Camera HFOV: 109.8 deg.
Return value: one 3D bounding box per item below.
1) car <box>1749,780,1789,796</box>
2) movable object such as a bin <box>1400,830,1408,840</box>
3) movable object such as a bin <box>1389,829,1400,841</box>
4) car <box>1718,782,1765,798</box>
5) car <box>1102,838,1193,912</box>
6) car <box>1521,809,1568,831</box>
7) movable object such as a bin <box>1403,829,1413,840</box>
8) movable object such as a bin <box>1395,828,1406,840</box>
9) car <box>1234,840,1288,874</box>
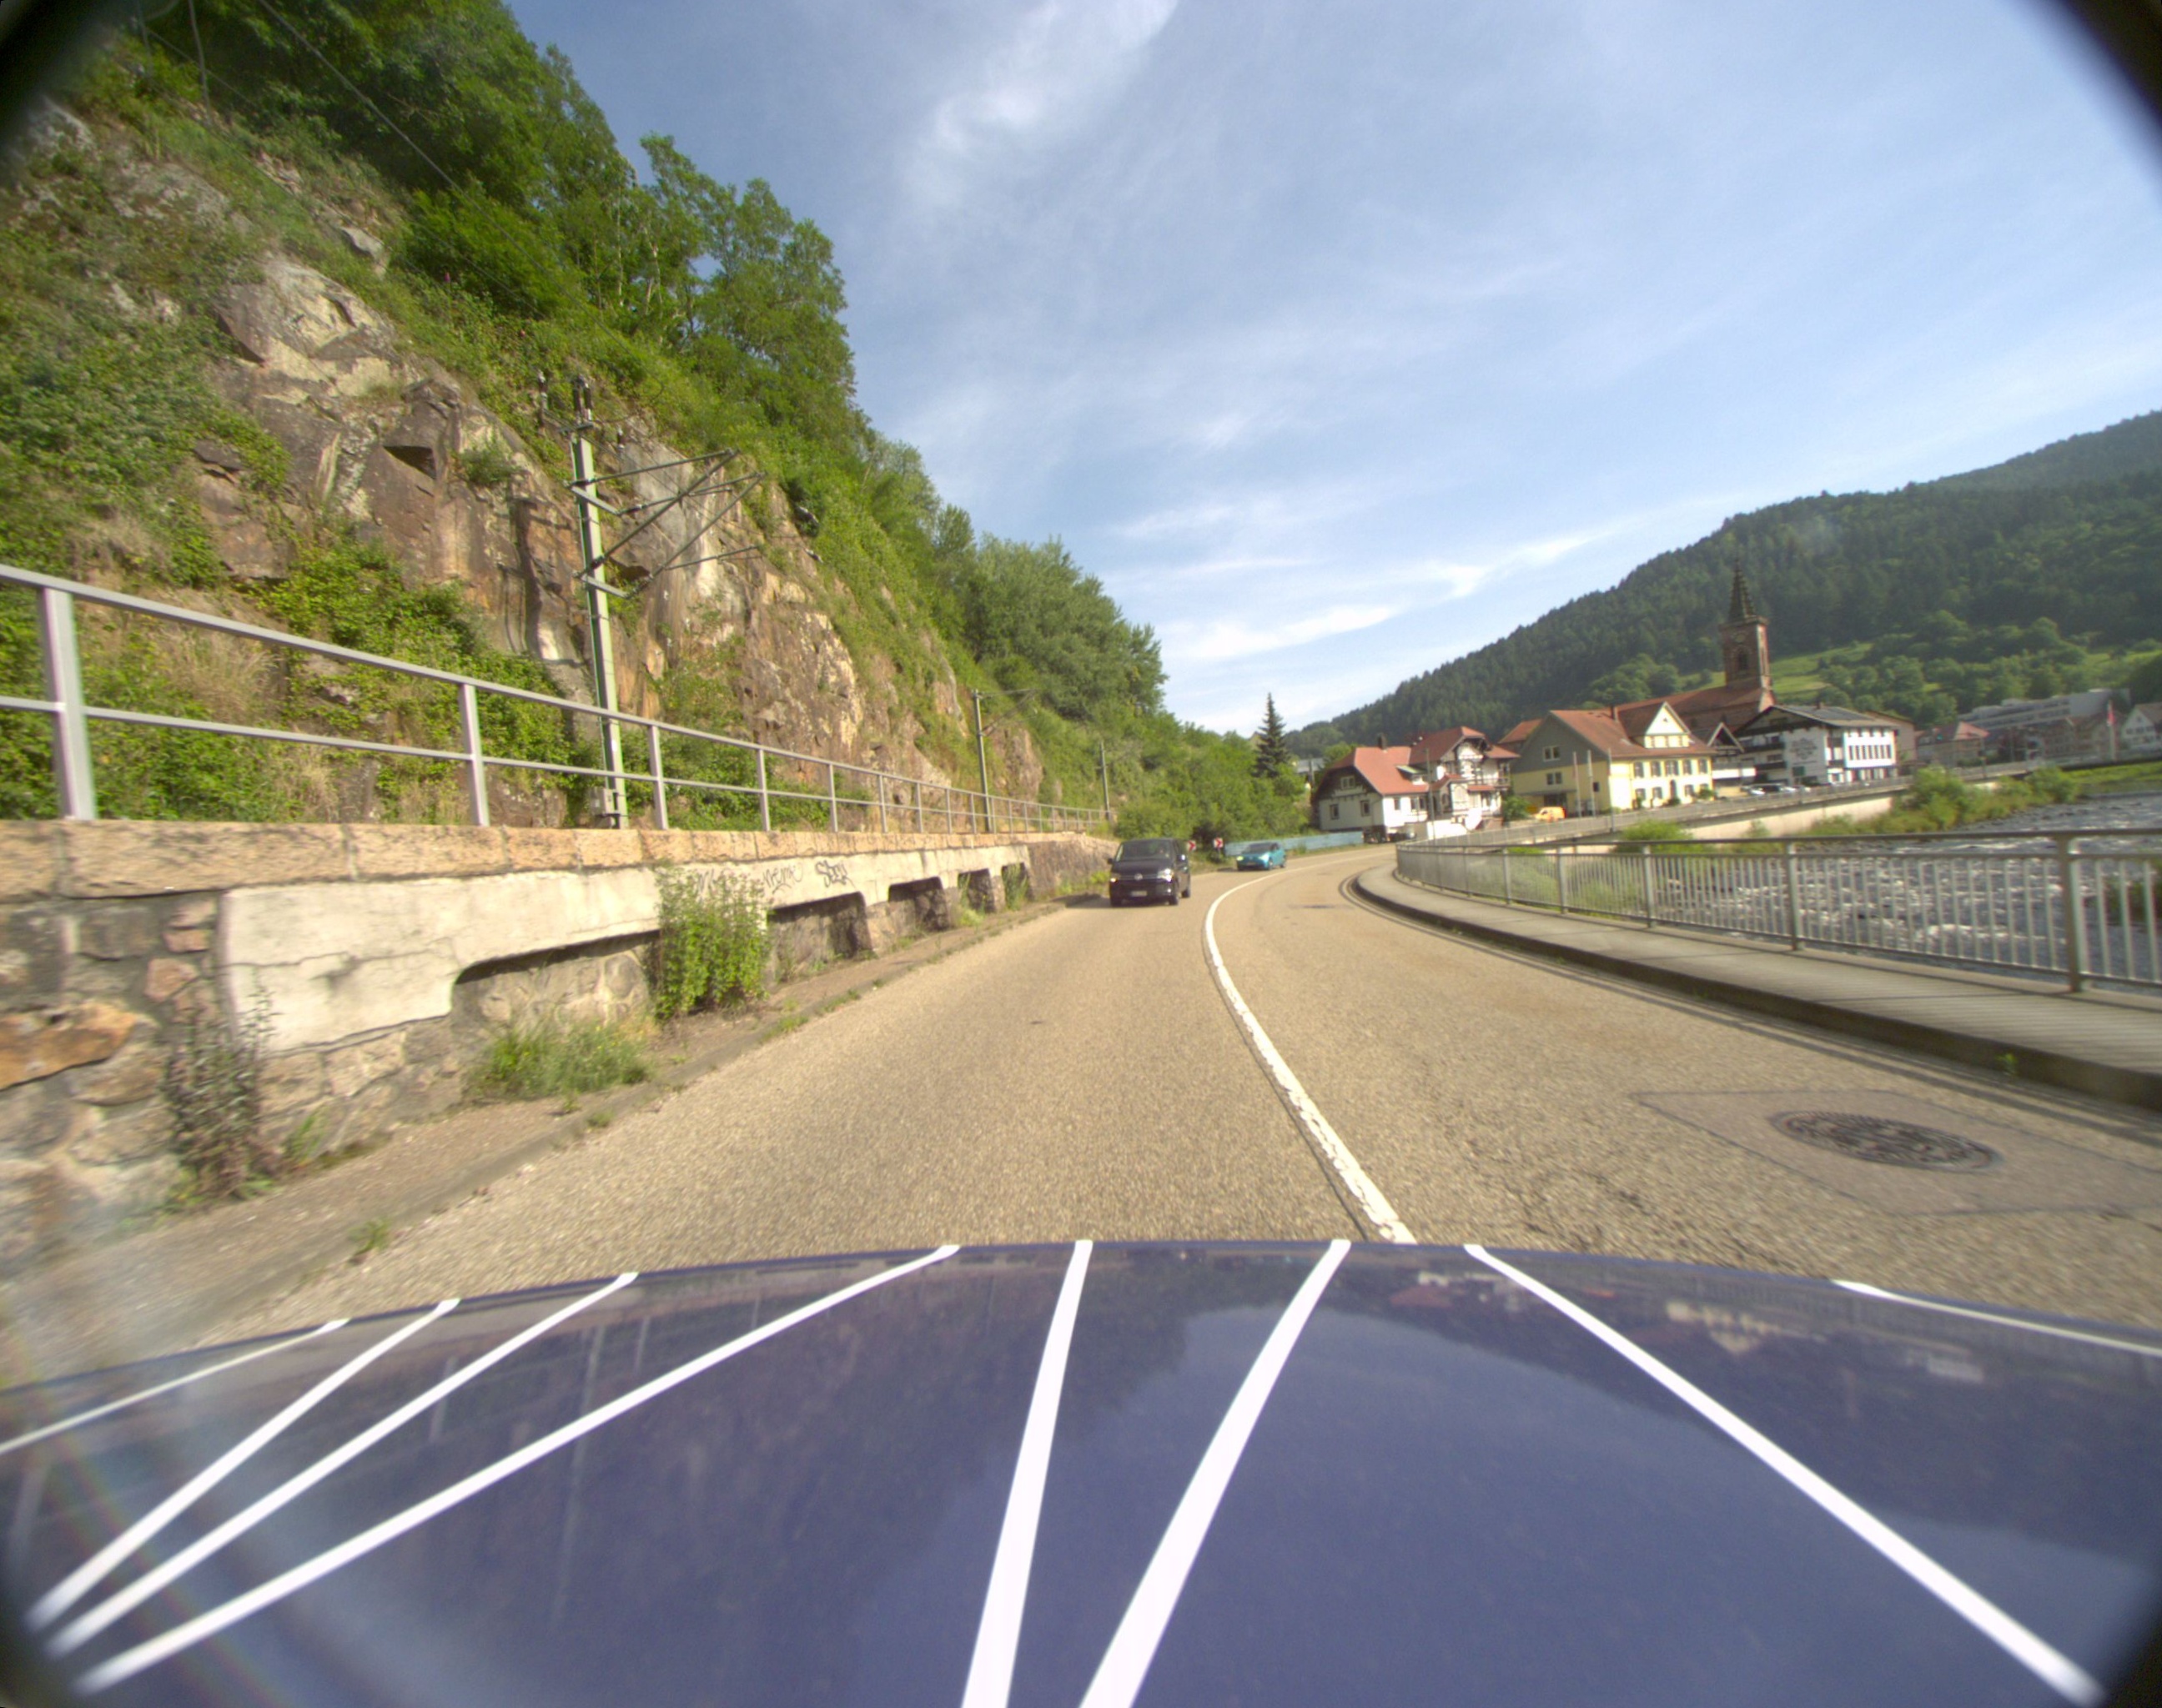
[{"bbox_3d":[91.366,-8.767,100.936,1.373,1.883,3.750,-6,5,-23],"label":"car"},{"bbox_3d":[30.198,-1.796,70.952,0.548,0.895,0.368,-6,1,-36],"label":"movable object such as a bin"},{"bbox_3d":[29.605,-1.837,71.805,0.753,1.056,0.478,-6,1,-30],"label":"movable object such as a bin"},{"bbox_3d":[88.118,-8.586,101.445,1.715,1.948,4.446,-6,5,-23],"label":"car"},{"bbox_3d":[2.136,0.538,22.931,1.885,1.952,4.870,-2,1,15],"label":"car"},{"bbox_3d":[50.207,-3.671,82.308,4.840,1.986,1.911,-4,0,-26],"label":"car"},{"bbox_3d":[30.275,-1.826,70.429,0.653,0.931,0.472,-6,1,-30],"label":"movable object such as a bin"},{"bbox_3d":[30.014,-1.865,71.372,0.753,1.056,0.478,-6,1,-30],"label":"movable object such as a bin"},{"bbox_3d":[10.098,0.118,42.477,1.680,1.513,3.871,-3,3,33],"label":"car"}]
